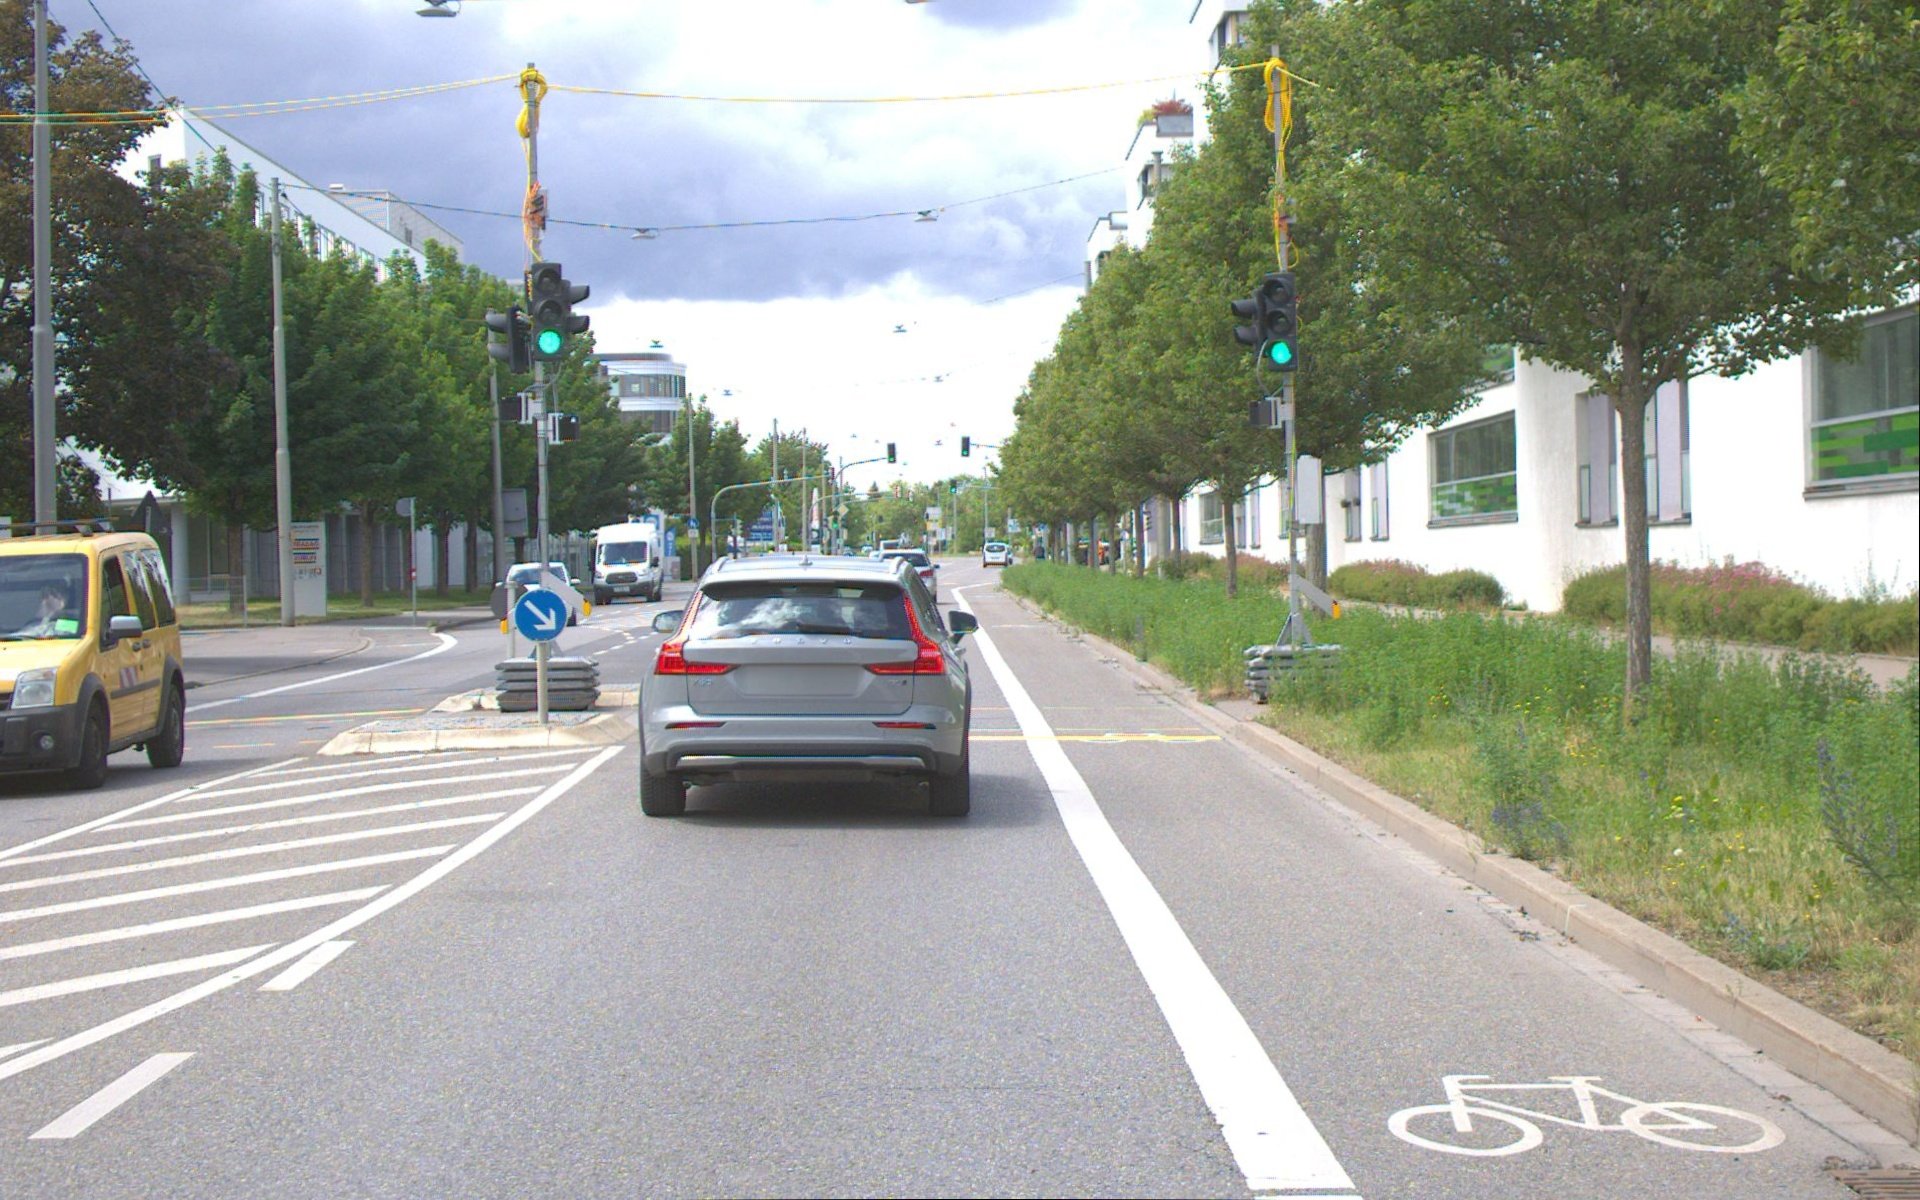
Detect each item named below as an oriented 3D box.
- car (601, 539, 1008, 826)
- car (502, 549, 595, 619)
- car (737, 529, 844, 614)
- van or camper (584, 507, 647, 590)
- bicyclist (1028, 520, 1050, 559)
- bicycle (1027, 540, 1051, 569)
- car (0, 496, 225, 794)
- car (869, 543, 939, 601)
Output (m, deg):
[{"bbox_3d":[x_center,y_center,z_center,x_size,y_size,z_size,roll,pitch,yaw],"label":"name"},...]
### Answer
[{"bbox_3d":[-0.808,0.408,20.361,1.855,1.508,3.999,1,1,5],"label":"car"},{"bbox_3d":[-9.405,-0.393,78.764,1.661,1.510,4.000,-1,1,-1],"label":"car"},{"bbox_3d":[-3.083,-0.545,63.267,1.854,1.508,4.000,0,1,-1],"label":"car"},{"bbox_3d":[-11.826,-1.771,118.279,1.993,2.724,6.054,-2,1,-5],"label":"van or camper"},{"bbox_3d":[4.099,-3.130,178.434,1.014,2.007,1.131,-2,1,-1],"label":"bicyclist"},{"bbox_3d":[4.111,-2.393,178.510,1.067,1.448,2.978,-2,1,-1],"label":"bicycle"},{"bbox_3d":[-6.645,0.269,24.419,1.841,1.898,4.686,-2,1,-1],"label":"car"},{"bbox_3d":[-1.517,-0.774,92.970,1.845,1.508,4.000,0,1,-1],"label":"car"}]
